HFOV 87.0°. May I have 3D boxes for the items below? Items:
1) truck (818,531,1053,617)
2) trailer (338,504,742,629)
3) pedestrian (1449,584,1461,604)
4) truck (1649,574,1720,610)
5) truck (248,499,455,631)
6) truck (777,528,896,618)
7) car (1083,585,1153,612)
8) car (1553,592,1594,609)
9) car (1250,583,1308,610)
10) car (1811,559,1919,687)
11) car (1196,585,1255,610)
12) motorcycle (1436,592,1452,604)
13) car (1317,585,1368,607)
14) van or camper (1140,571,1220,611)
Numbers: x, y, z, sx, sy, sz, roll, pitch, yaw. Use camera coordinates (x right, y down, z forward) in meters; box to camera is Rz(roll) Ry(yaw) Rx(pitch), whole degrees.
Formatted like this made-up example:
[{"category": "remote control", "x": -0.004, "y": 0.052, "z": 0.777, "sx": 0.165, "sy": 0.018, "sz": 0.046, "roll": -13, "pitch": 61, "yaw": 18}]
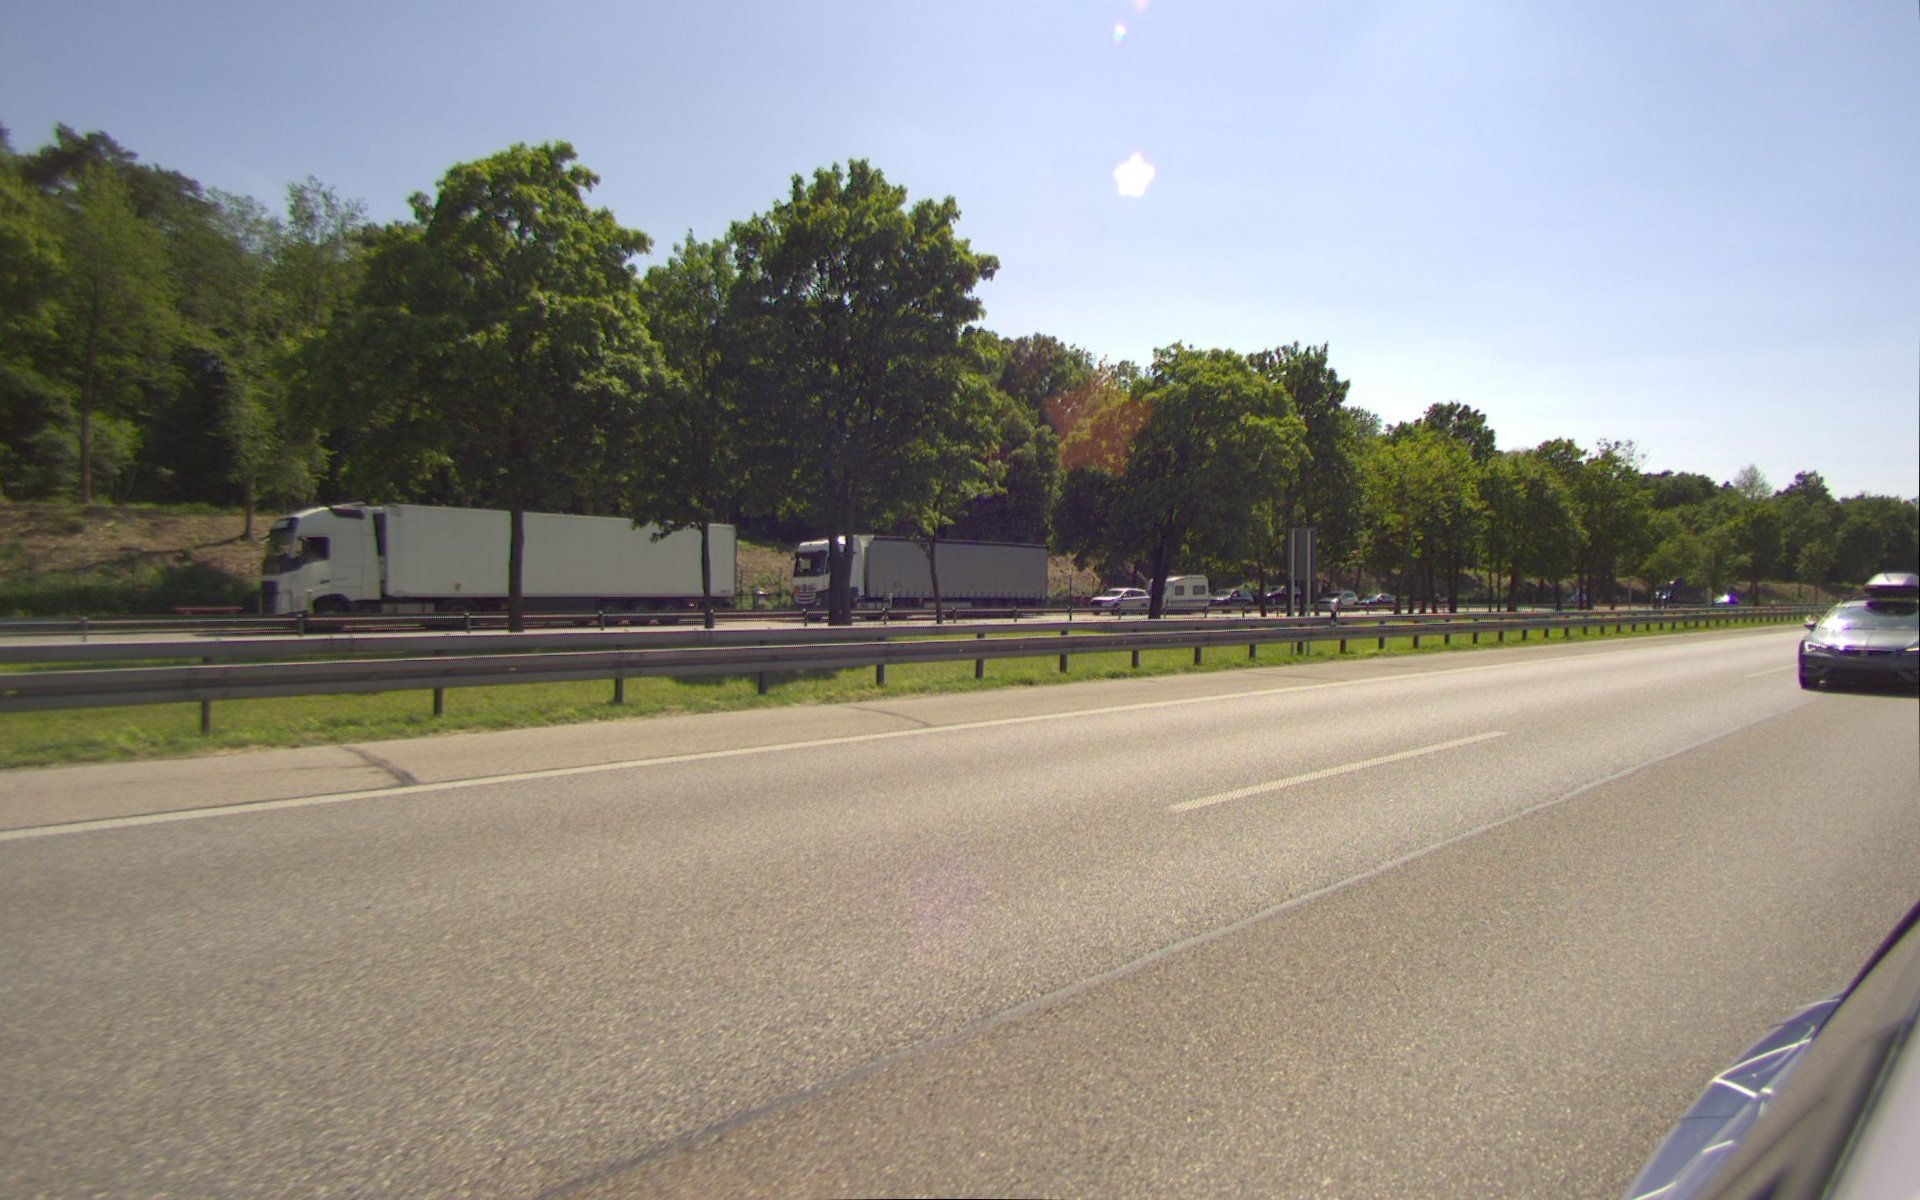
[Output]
[{"category": "truck", "x": -0.818, "y": -1.288, "z": 52.856, "sx": 2.997, "sy": 3.980, "sz": 14.229, "roll": 1, "pitch": 1, "yaw": 44}, {"category": "trailer", "x": -14.663, "y": -1.083, "z": 37.374, "sx": 2.856, "sy": 3.844, "sz": 13.976, "roll": 1, "pitch": 1, "yaw": 41}, {"category": "pedestrian", "x": 45.166, "y": -0.574, "z": 92.356, "sx": 0.785, "sy": 1.804, "sz": 0.643, "roll": 1, "pitch": 1, "yaw": -1}, {"category": "truck", "x": 86.537, "y": -0.930, "z": 120.808, "sx": 9.162, "sy": 3.996, "sz": 3.300, "roll": 1, "pitch": 1, "yaw": -30}, {"category": "truck", "x": -19.259, "y": -1.050, "z": 32.188, "sx": 2.807, "sy": 3.844, "sz": 5.068, "roll": 1, "pitch": 1, "yaw": 42}, {"category": "truck", "x": -5.771, "y": -1.255, "z": 47.727, "sx": 2.971, "sy": 3.980, "sz": 4.756, "roll": 1, "pitch": 1, "yaw": 44}, {"category": "car", "x": 9.877, "y": -0.097, "z": 63.095, "sx": 4.470, "sy": 1.617, "sz": 1.661, "roll": 0, "pitch": 1, "yaw": -37}, {"category": "car", "x": 65.602, "y": 0.054, "z": 108.221, "sx": 4.233, "sy": 1.671, "sz": 2.002, "roll": 1, "pitch": 1, "yaw": -32}, {"category": "car", "x": 23.607, "y": -0.276, "z": 74.843, "sx": 4.711, "sy": 1.900, "sz": 1.661, "roll": 0, "pitch": 1, "yaw": -37}, {"category": "car", "x": 15.977, "y": 0.344, "z": 17.136, "sx": 4.743, "sy": 1.899, "sz": 1.668, "roll": 0, "pitch": 2, "yaw": -41}, {"category": "car", "x": 18.734, "y": -0.184, "z": 71.337, "sx": 4.413, "sy": 1.662, "sz": 1.661, "roll": 0, "pitch": 1, "yaw": -37}, {"category": "motorcycle", "x": 44.190, "y": -0.178, "z": 92.457, "sx": 1.641, "sy": 1.043, "sz": 0.560, "roll": 1, "pitch": 1, "yaw": -35}, {"category": "car", "x": 30.937, "y": -0.326, "z": 81.713, "sx": 4.565, "sy": 1.696, "sz": 1.661, "roll": 0, "pitch": 1, "yaw": -37}, {"category": "van or camper", "x": 14.693, "y": -0.585, "z": 67.489, "sx": 5.772, "sy": 2.562, "sz": 2.208, "roll": 0, "pitch": 1, "yaw": -41}]
